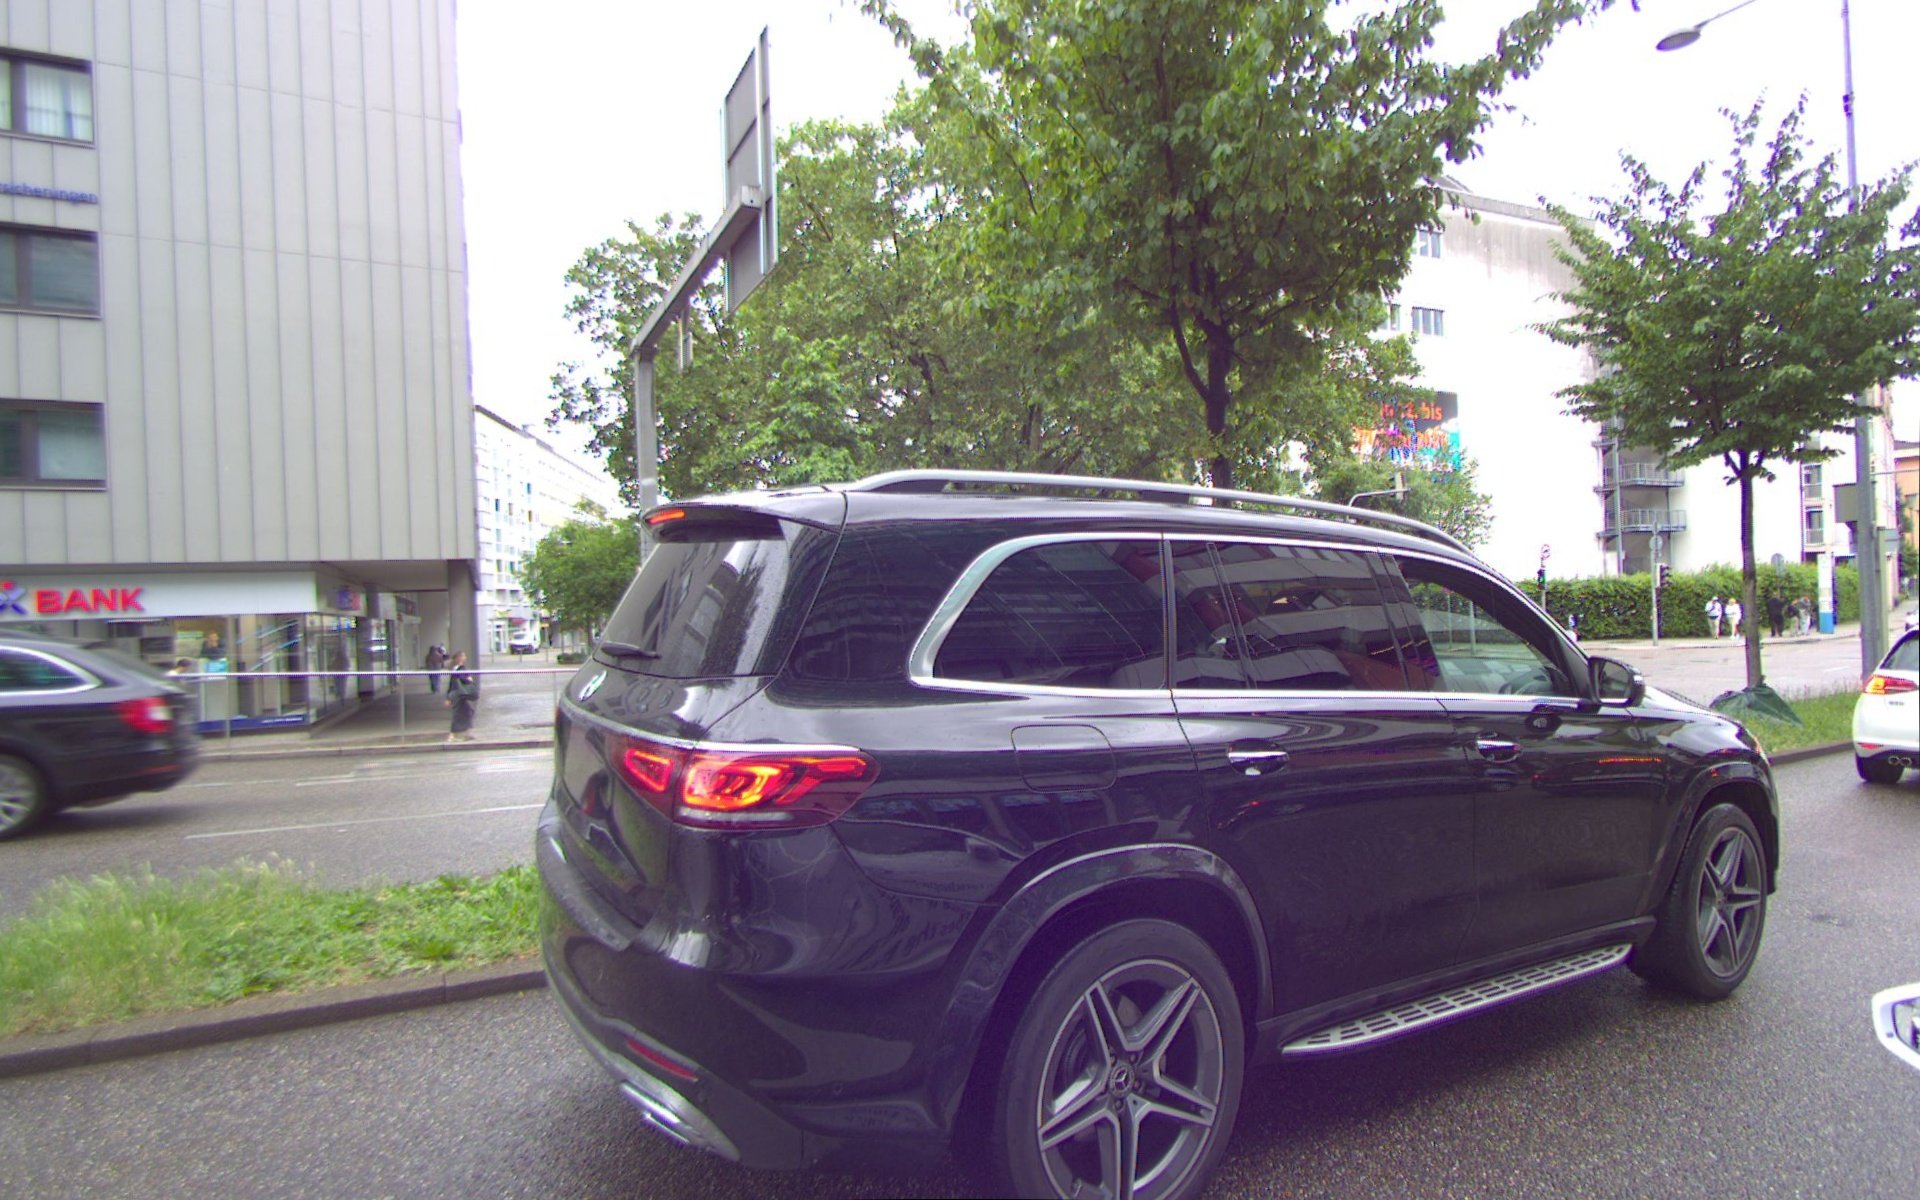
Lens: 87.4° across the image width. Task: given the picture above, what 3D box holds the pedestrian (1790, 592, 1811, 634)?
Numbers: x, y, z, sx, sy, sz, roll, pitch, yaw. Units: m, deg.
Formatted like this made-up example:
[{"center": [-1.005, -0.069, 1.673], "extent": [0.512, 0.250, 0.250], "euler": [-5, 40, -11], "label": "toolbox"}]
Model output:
[{"center": [36.138, 0.541, 43.168], "extent": [0.559, 1.771, 0.535], "euler": [2, -1, -35], "label": "pedestrian"}]

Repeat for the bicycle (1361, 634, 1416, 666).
[{"center": [13.769, 1.604, 32.267], "extent": [1.918, 1.013, 0.612], "euler": [2, -3, -31], "label": "bicycle"}]

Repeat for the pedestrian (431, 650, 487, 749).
[{"center": [-8.764, 1.726, 17.592], "extent": [0.779, 1.659, 0.632], "euler": [2, -1, -22], "label": "pedestrian"}]

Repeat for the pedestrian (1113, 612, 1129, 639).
[{"center": [10.066, 1.622, 62.928], "extent": [0.723, 1.664, 0.635], "euler": [2, -1, -23], "label": "pedestrian"}]

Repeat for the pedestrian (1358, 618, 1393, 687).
[{"center": [10.436, 1.312, 25.248], "extent": [0.572, 1.684, 0.554], "euler": [-2, 0, -30], "label": "pedestrian"}]

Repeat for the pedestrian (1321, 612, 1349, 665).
[{"center": [12.404, 1.265, 33.230], "extent": [0.572, 1.689, 0.636], "euler": [-2, 0, -30], "label": "pedestrian"}]

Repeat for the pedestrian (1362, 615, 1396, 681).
[{"center": [11.001, 1.242, 26.380], "extent": [0.572, 1.684, 0.554], "euler": [-2, 0, -30], "label": "pedestrian"}]

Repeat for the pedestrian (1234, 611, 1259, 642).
[{"center": [15.145, 1.396, 53.070], "extent": [0.677, 1.599, 1.055], "euler": [2, -1, -34], "label": "pedestrian"}]

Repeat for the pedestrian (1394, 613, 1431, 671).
[{"center": [13.354, 1.225, 29.682], "extent": [0.620, 1.684, 0.749], "euler": [-2, 0, -30], "label": "pedestrian"}]

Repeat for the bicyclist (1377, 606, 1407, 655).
[{"center": [13.899, 0.990, 32.325], "extent": [0.602, 1.550, 0.629], "euler": [2, -3, -30], "label": "bicyclist"}]

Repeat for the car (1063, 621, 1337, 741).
[{"center": [3.421, 1.168, 14.149], "extent": [3.712, 1.487, 1.625], "euler": [4, -5, -32], "label": "car"}]

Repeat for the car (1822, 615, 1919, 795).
[{"center": [9.539, 0.871, 8.961], "extent": [3.799, 1.448, 1.768], "euler": [0, 0, -32], "label": "car"}]

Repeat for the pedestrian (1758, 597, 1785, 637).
[{"center": [34.309, 0.721, 42.468], "extent": [0.724, 1.664, 0.635], "euler": [2, -1, -27], "label": "pedestrian"}]

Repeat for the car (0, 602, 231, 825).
[{"center": [-8.029, 0.852, 6.951], "extent": [4.685, 1.505, 1.624], "euler": [-1, -2, -33], "label": "car"}]

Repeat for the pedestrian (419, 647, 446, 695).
[{"center": [-19.154, 2.553, 36.482], "extent": [0.719, 1.719, 0.782], "euler": [2, -3, -37], "label": "pedestrian"}]

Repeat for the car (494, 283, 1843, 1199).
[{"center": [1.123, 0.513, 3.787], "extent": [5.016, 1.895, 1.901], "euler": [3, -1, -31], "label": "car"}]

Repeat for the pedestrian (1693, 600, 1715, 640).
[{"center": [30.686, 0.814, 41.408], "extent": [0.522, 1.620, 0.576], "euler": [2, -1, -36], "label": "pedestrian"}]

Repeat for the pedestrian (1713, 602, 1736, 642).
[{"center": [31.359, 0.886, 41.205], "extent": [0.522, 1.620, 0.576], "euler": [2, -1, -36], "label": "pedestrian"}]

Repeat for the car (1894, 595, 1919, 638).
[{"center": [34.643, 0.560, 35.528], "extent": [3.571, 1.506, 1.565], "euler": [0, 1, -33], "label": "car"}]

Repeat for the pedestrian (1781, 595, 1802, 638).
[{"center": [34.867, 0.692, 42.117], "extent": [0.741, 1.771, 0.535], "euler": [2, -1, -38], "label": "pedestrian"}]
